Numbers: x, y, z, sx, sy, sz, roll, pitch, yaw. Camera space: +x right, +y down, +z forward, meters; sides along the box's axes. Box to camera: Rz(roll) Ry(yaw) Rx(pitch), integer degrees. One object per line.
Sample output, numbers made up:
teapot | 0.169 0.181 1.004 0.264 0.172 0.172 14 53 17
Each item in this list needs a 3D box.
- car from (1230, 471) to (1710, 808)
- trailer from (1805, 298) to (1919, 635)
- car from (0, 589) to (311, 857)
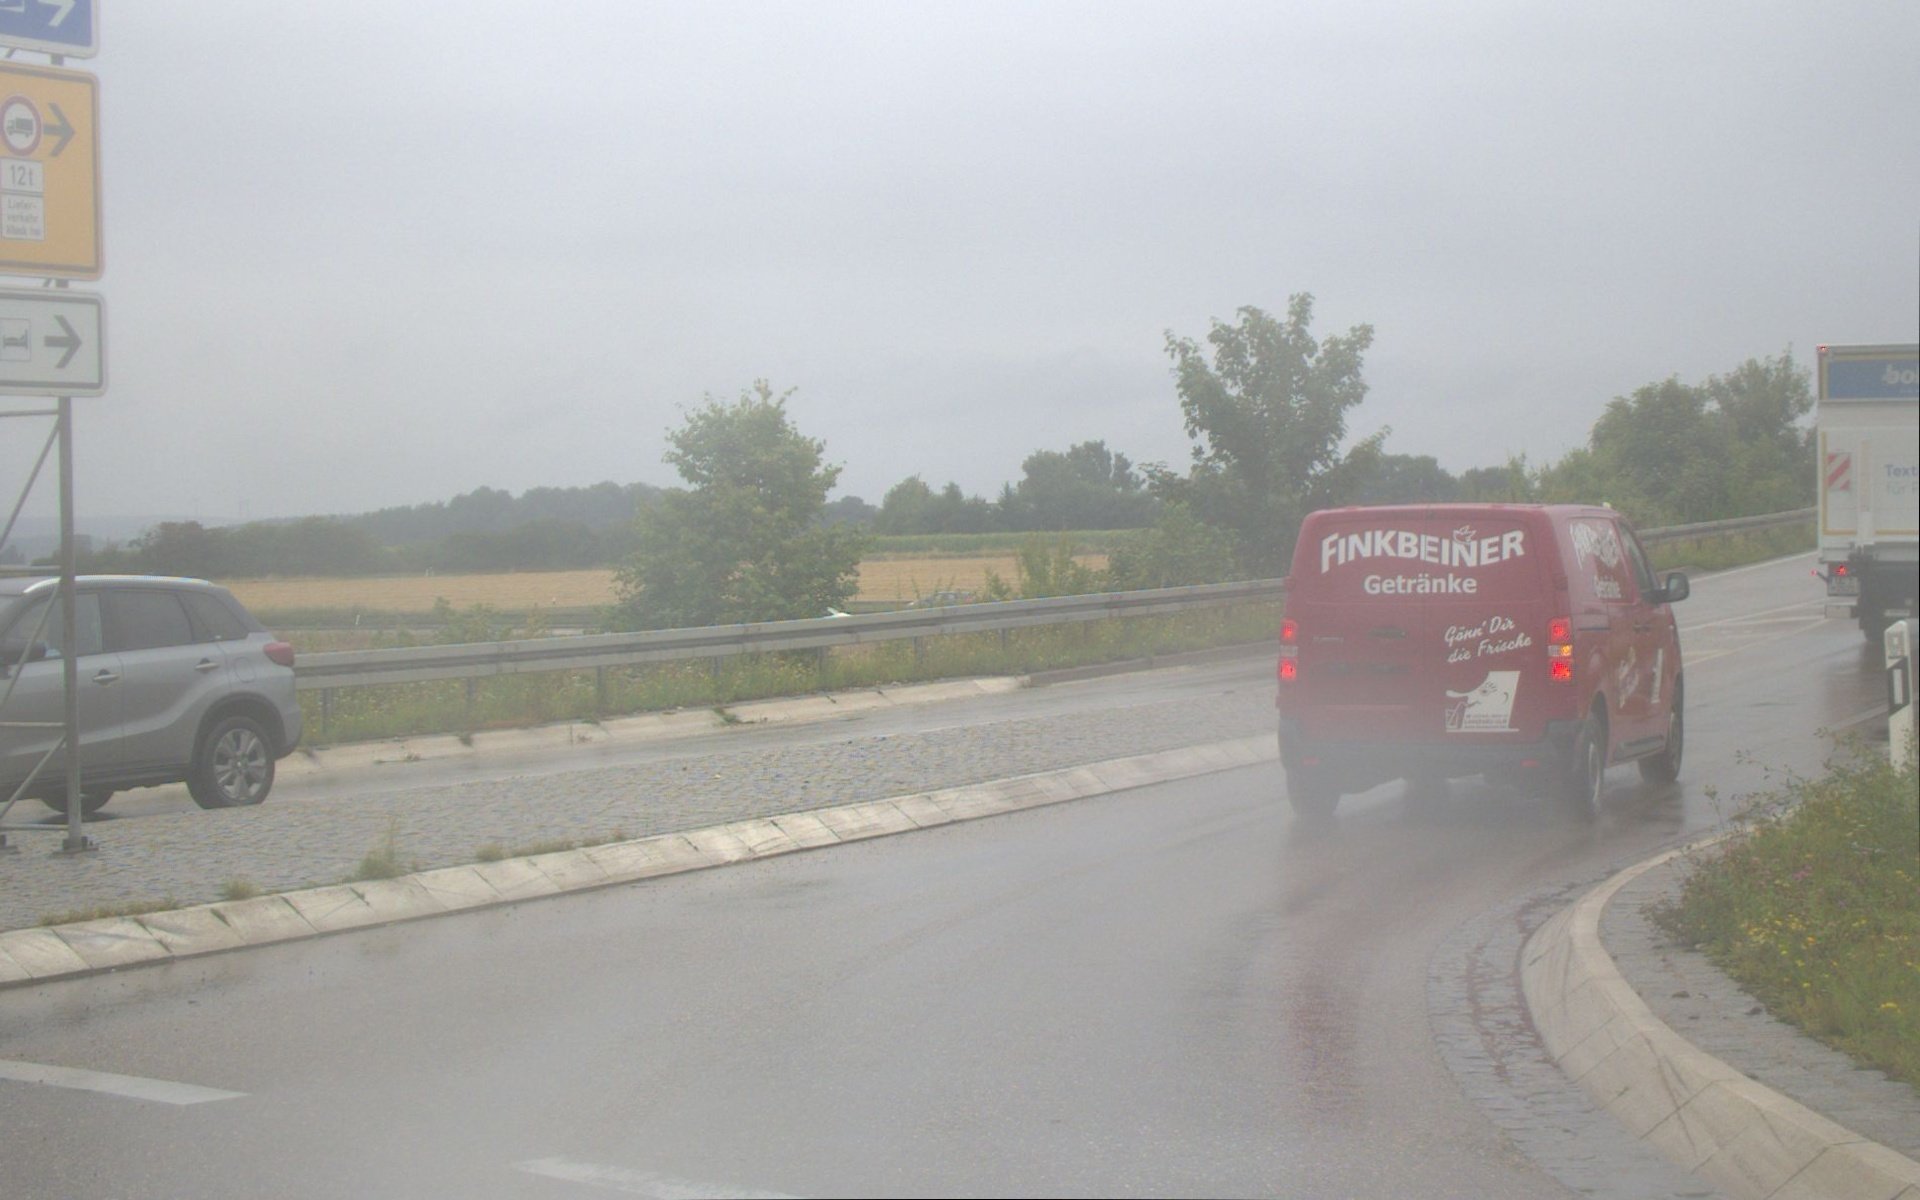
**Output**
car | 3.432 0.159 22.194 1.995 1.864 4.974 -1 2 21
trailer | 12.923 -1.696 43.317 2.835 3.805 9.704 -1 2 23
car | -6.229 0.753 21.913 1.804 1.569 3.992 1 2 35
